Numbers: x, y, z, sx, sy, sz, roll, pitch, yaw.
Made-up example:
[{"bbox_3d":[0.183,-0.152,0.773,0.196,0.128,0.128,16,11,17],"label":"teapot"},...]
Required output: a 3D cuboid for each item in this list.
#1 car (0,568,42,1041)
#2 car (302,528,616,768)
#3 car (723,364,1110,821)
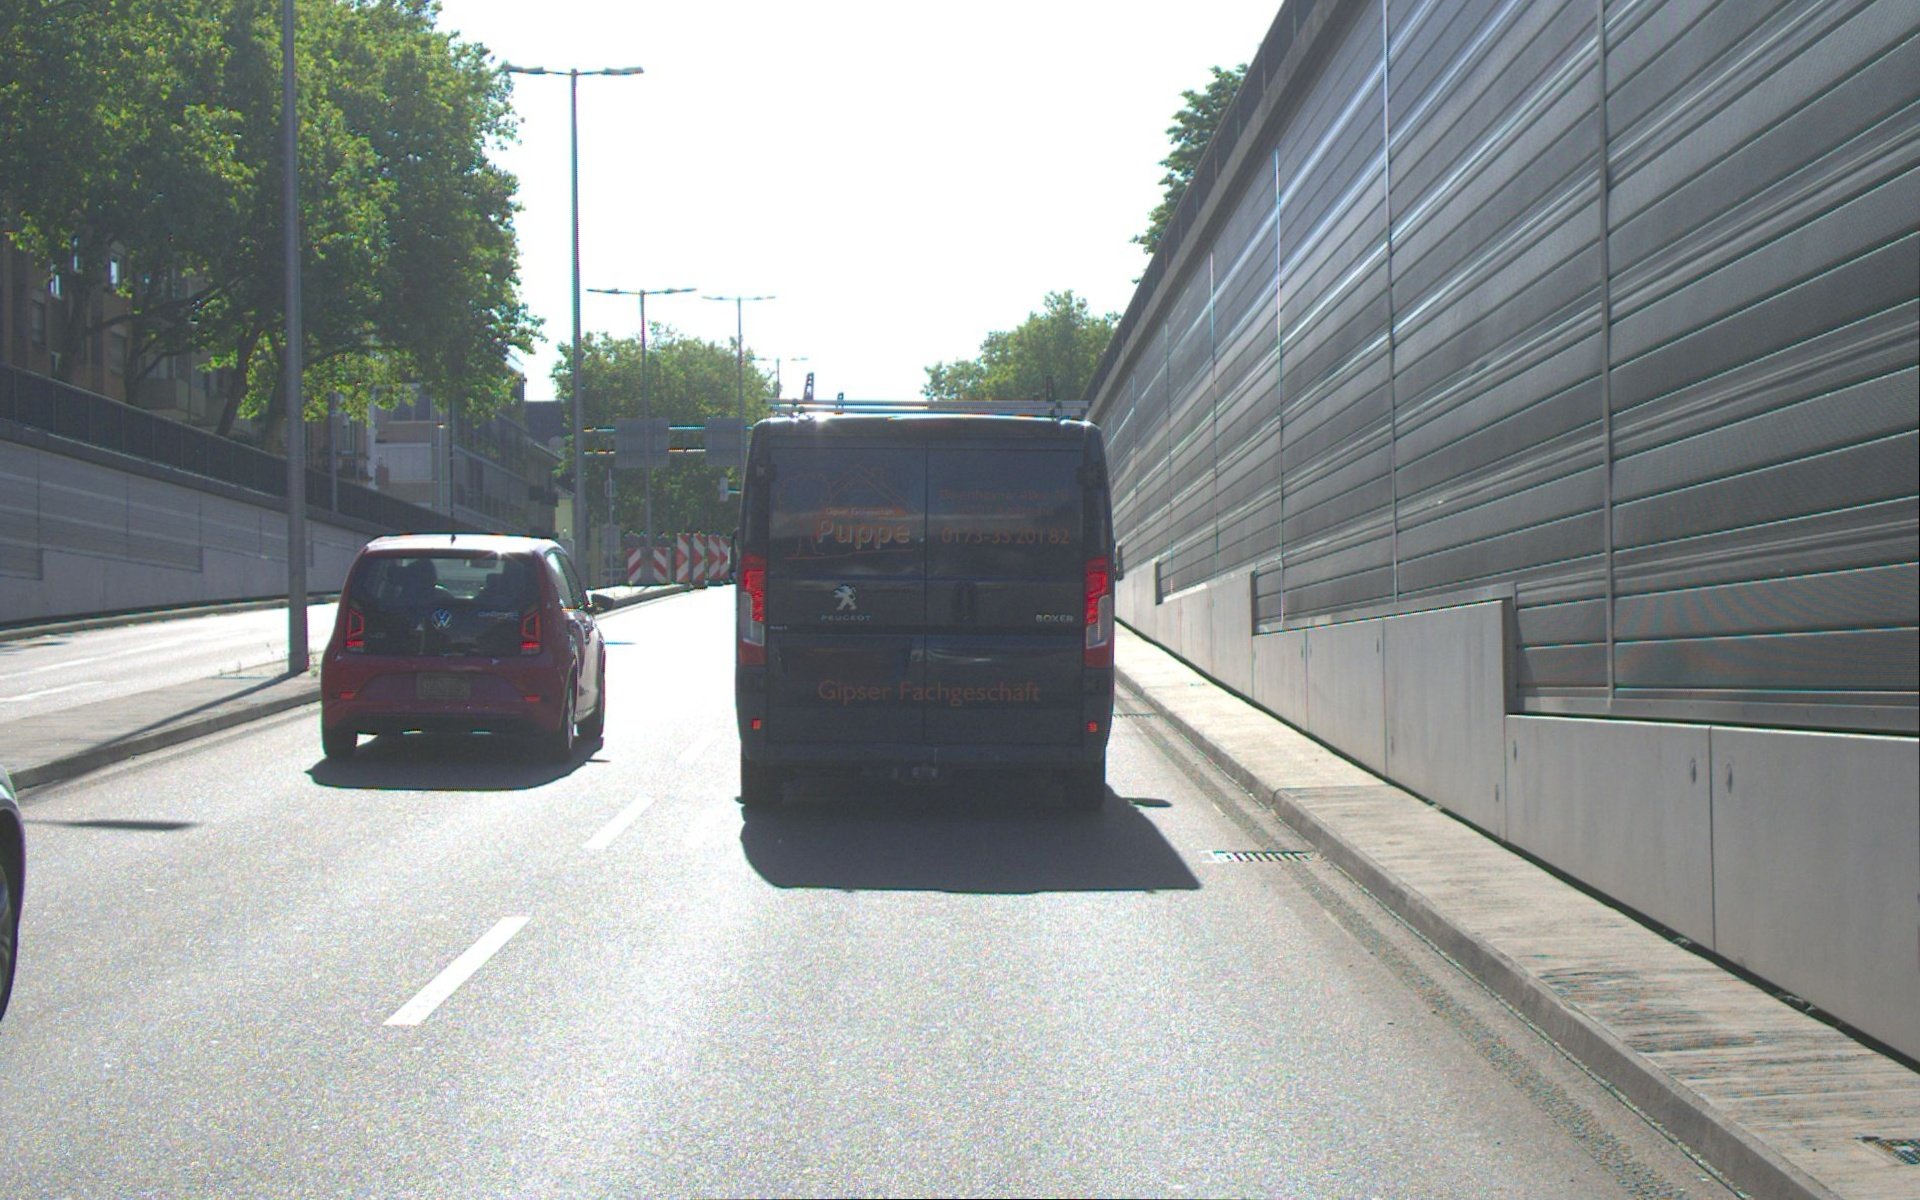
[{"bbox_3d":[-3.629,0.613,8.673,1.619,1.398,3.852,1,1,-1],"label":"car"},{"bbox_3d":[-3.334,0.270,23.408,1.689,1.478,3.319,1,1,-1],"label":"car"},{"bbox_3d":[-0.238,-0.057,20.031,2.030,2.394,3.973,0,0,0],"label":"car"}]
